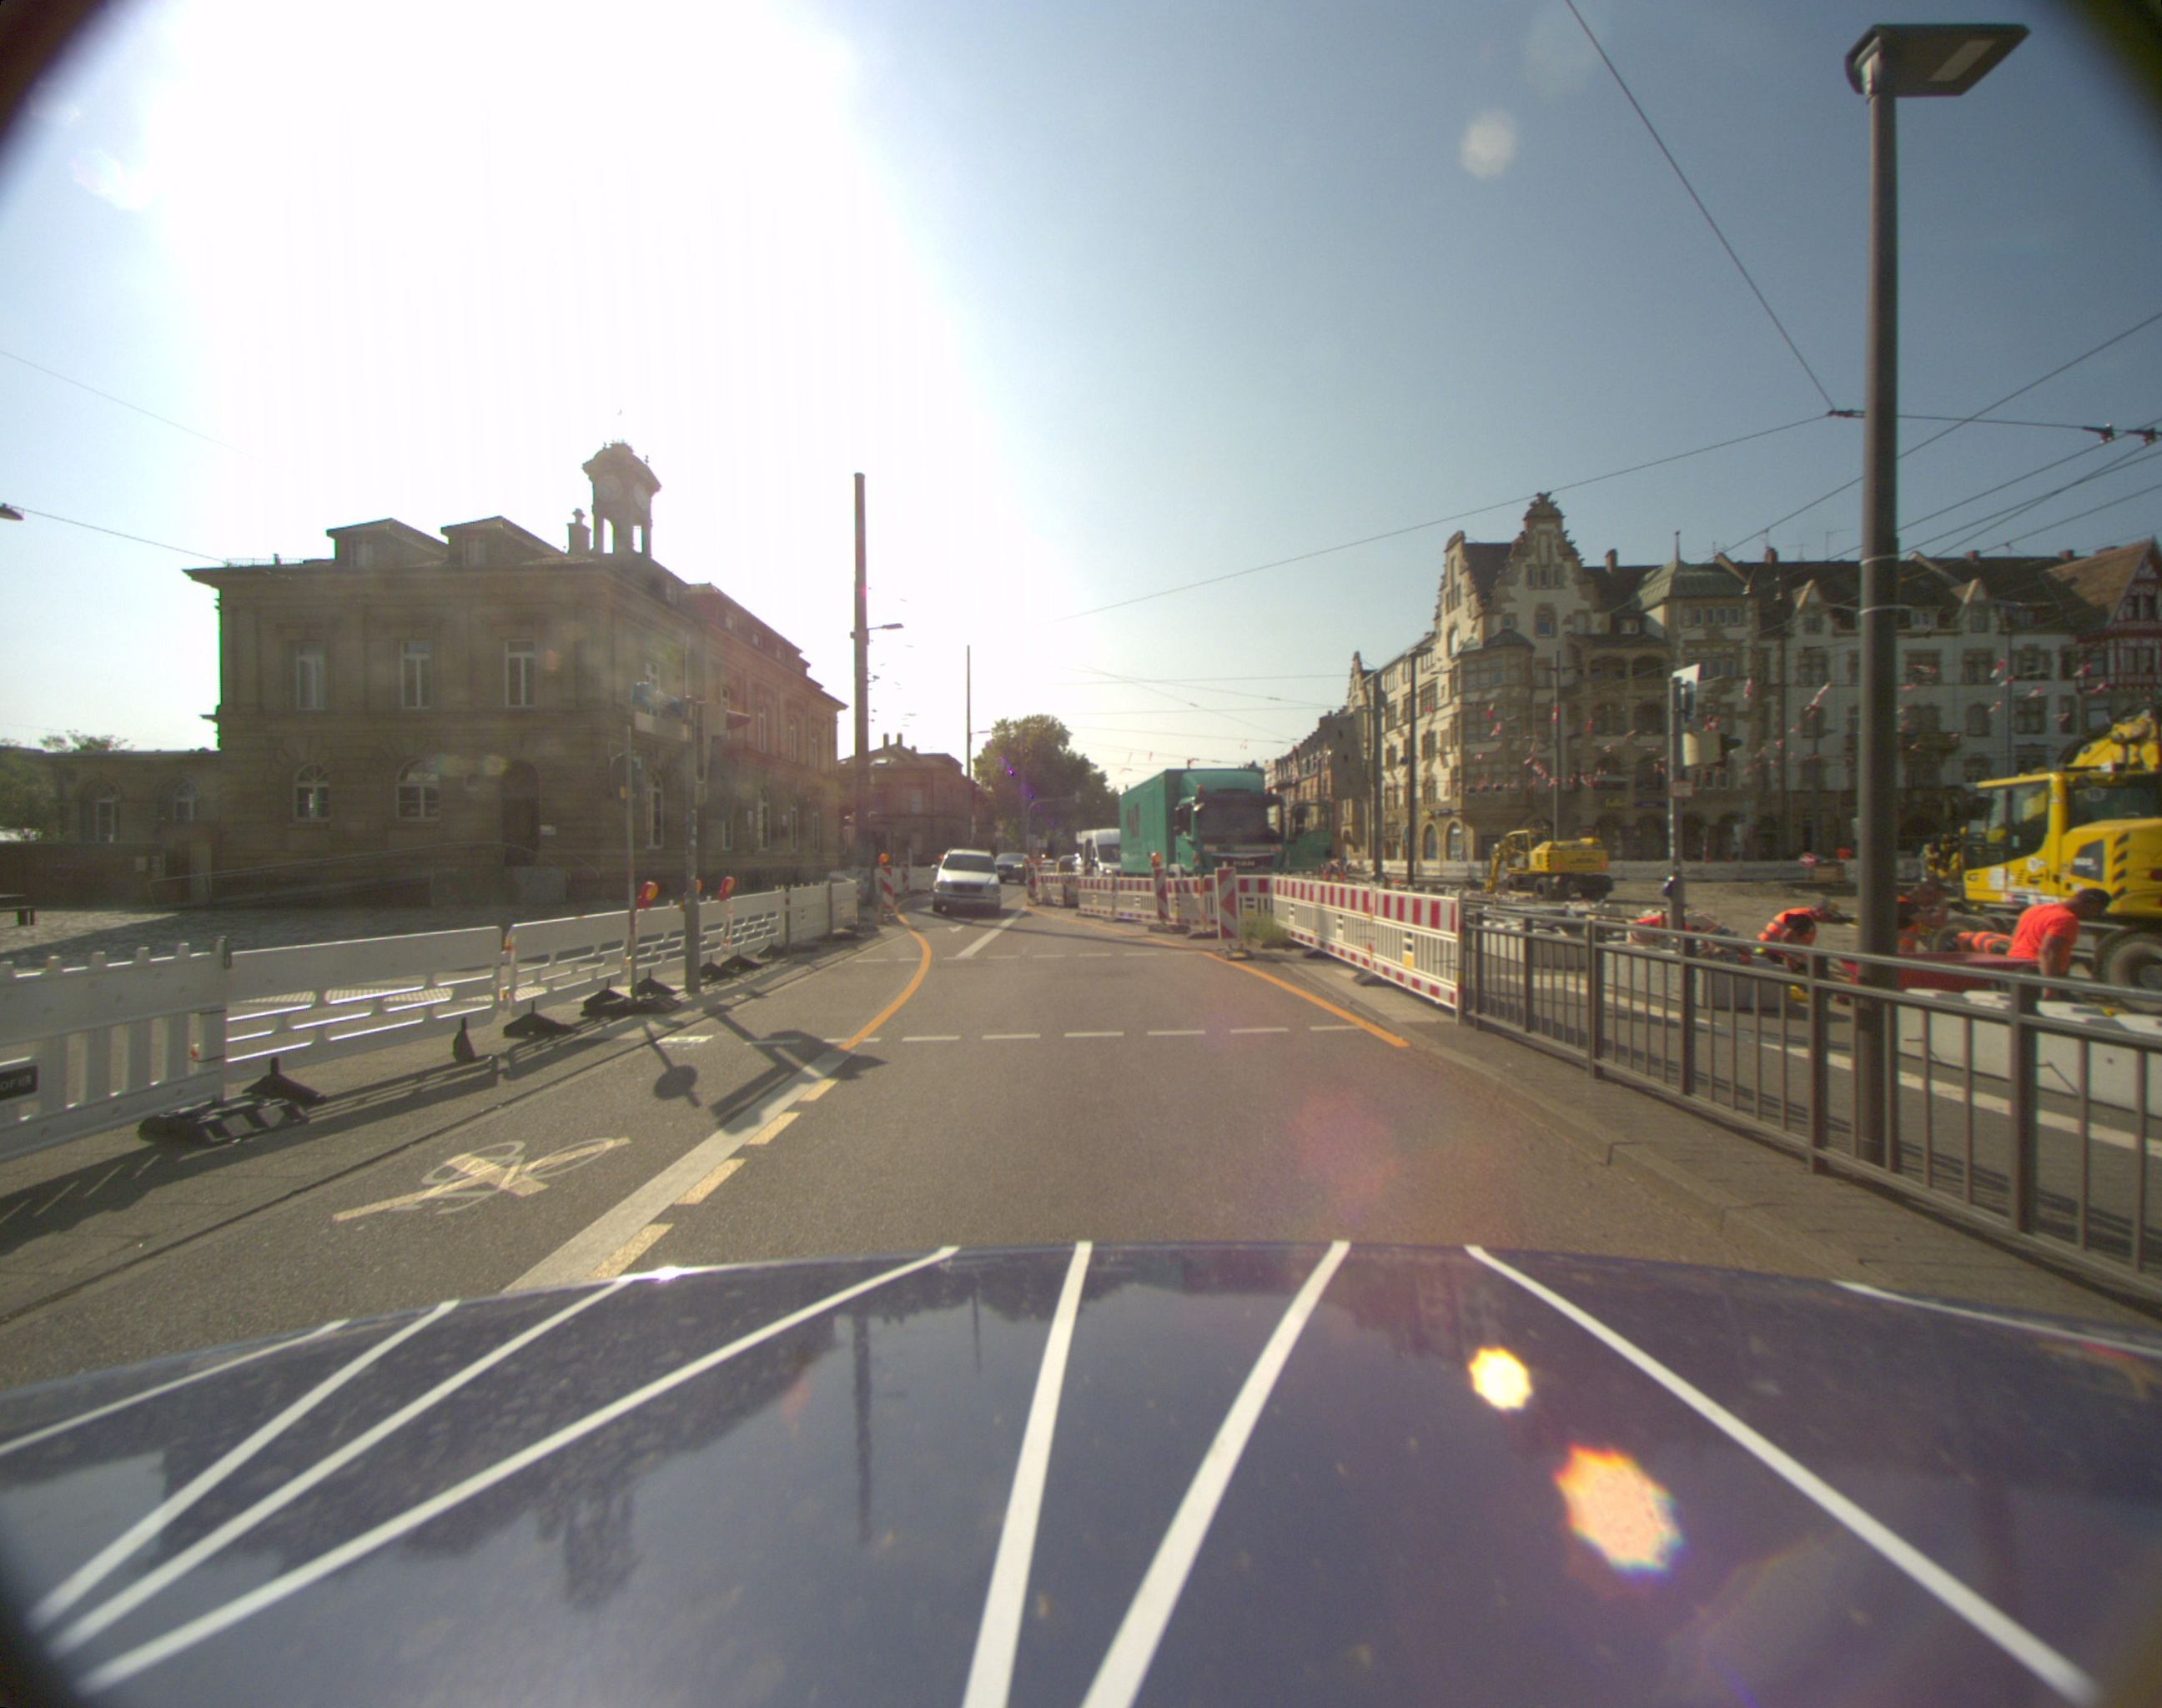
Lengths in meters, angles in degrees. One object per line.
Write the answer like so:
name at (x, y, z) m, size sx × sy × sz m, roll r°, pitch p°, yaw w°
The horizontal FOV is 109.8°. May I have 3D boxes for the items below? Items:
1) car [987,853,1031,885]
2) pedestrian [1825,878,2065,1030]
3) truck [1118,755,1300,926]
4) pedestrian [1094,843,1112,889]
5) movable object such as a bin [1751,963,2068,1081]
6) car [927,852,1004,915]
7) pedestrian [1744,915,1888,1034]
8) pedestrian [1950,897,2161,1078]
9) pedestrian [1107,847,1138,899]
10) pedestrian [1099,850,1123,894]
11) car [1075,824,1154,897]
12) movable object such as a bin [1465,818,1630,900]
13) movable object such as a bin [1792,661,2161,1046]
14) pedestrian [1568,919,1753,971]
car at (-3.931, 0.777, 42.153) m, size 1.999 × 1.685 × 5.225 m, roll 0°, pitch 0°, yaw -1°
pedestrian at (8.213, 0.899, 7.315) m, size 1.313 × 1.299 × 0.800 m, roll 0°, pitch 0°, yaw 26°
truck at (2.993, -0.286, 20.547) m, size 2.682 × 3.657 × 8.208 m, roll 0°, pitch 0°, yaw -7°
pedestrian at (0.975, 0.516, 33.544) m, size 0.735 × 2.002 × 0.908 m, roll 0°, pitch 1°, yaw 8°
movable object such as a bin at (6.312, 1.258, 5.907) m, size 1.507 × 0.649 × 0.702 m, roll 0°, pitch 0°, yaw 23°
car at (-3.332, 0.775, 22.830) m, size 1.999 × 1.686 × 5.222 m, roll 0°, pitch 0°, yaw -5°
pedestrian at (8.367, 1.333, 8.705) m, size 0.983 × 1.183 × 0.800 m, roll 0°, pitch 0°, yaw 26°
pedestrian at (7.937, 1.035, 6.222) m, size 0.838 × 1.299 × 0.800 m, roll 0°, pitch 0°, yaw 26°
pedestrian at (1.373, 0.624, 25.052) m, size 0.705 × 1.684 × 0.767 m, roll 0°, pitch 1°, yaw 38°
pedestrian at (1.370, 0.833, 35.040) m, size 0.734 × 2.002 × 0.909 m, roll 1°, pitch 1°, yaw 34°
car at (1.249, 0.225, 31.280) m, size 2.232 × 2.713 × 5.166 m, roll 0°, pitch 1°, yaw -9°
movable object such as a bin at (21.017, 0.185, 34.978) m, size 2.852 × 3.310 × 8.347 m, roll 0°, pitch 0°, yaw 4°
movable object such as a bin at (14.630, 0.005, 11.215) m, size 3.506 × 3.989 × 9.058 m, roll 0°, pitch 0°, yaw 26°
pedestrian at (8.196, 1.278, 10.841) m, size 1.905 × 0.632 × 0.913 m, roll 0°, pitch 0°, yaw 6°
